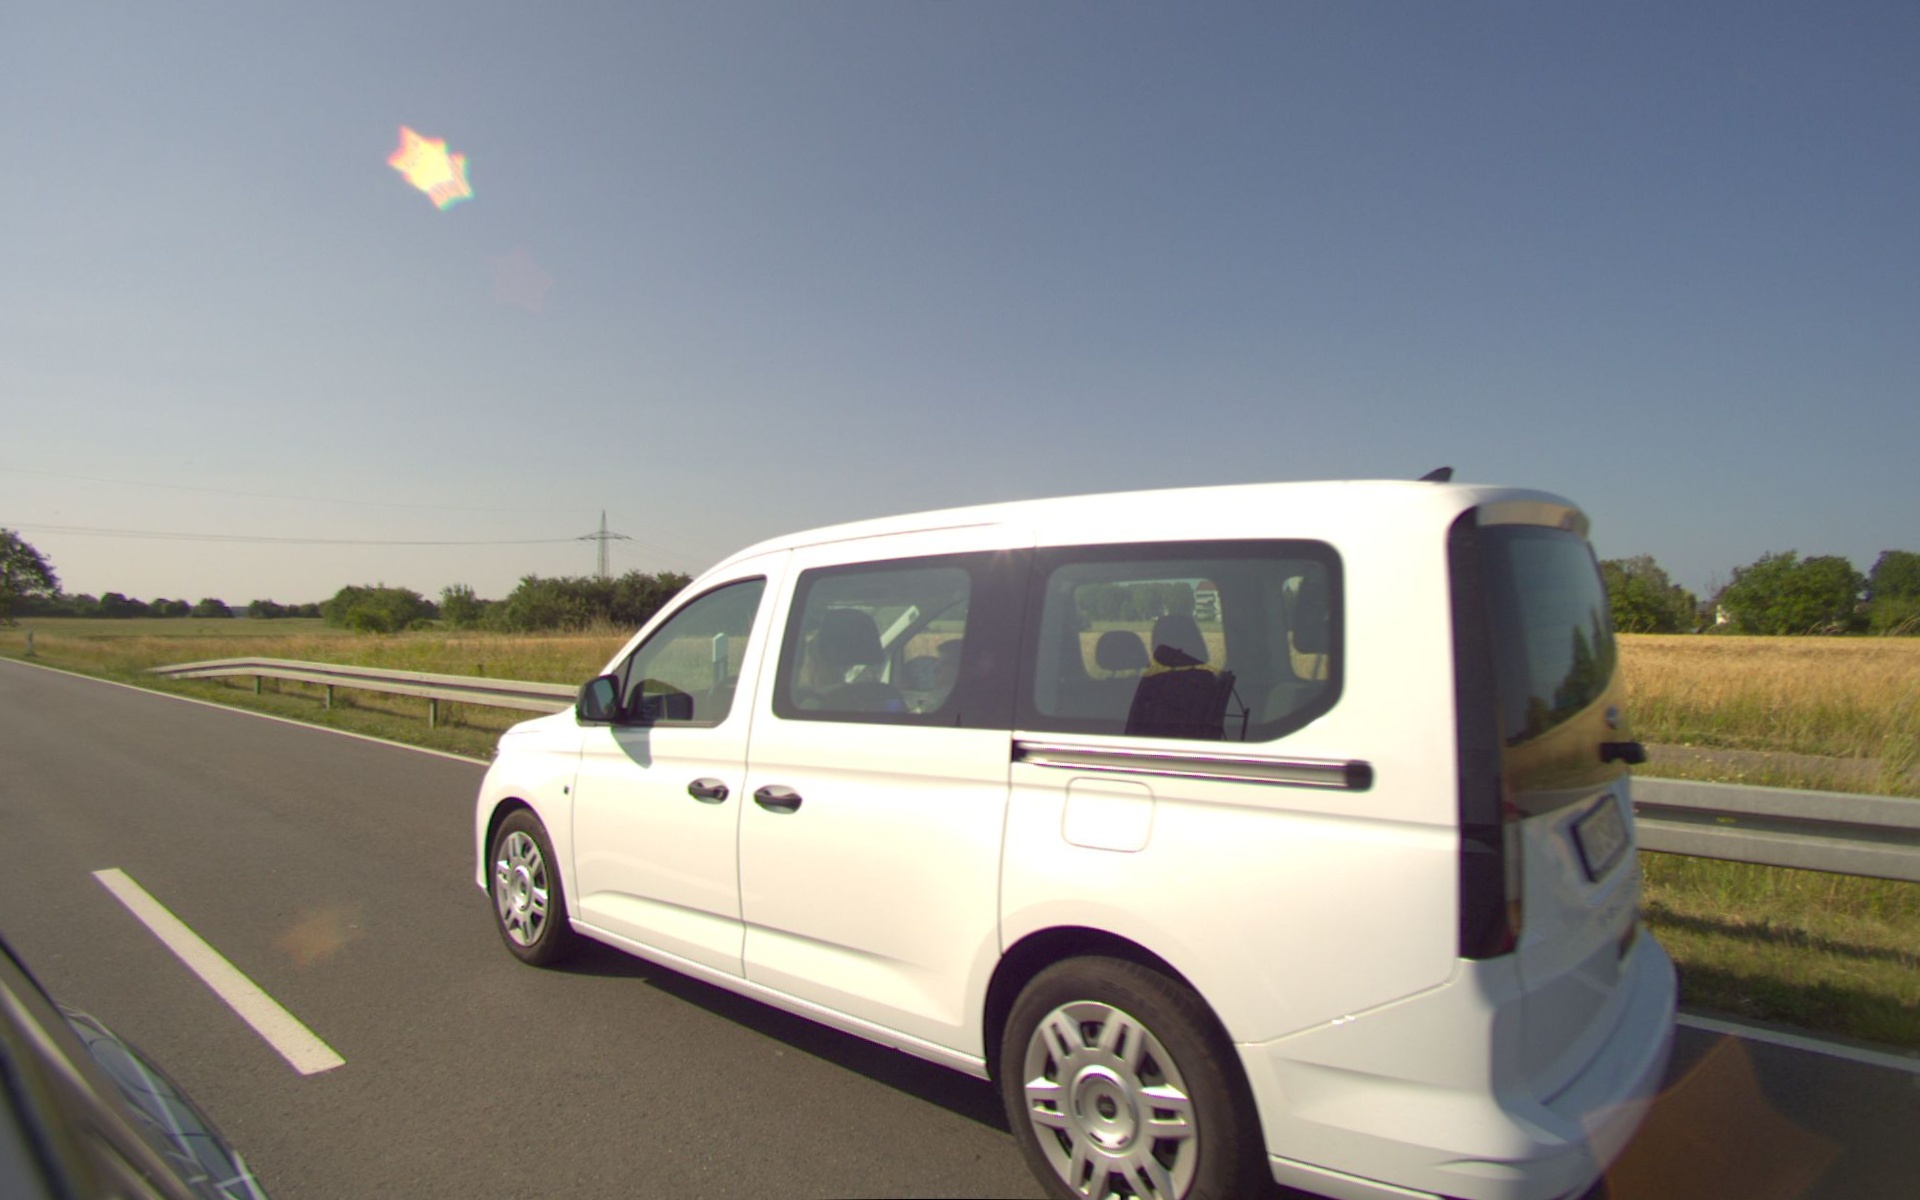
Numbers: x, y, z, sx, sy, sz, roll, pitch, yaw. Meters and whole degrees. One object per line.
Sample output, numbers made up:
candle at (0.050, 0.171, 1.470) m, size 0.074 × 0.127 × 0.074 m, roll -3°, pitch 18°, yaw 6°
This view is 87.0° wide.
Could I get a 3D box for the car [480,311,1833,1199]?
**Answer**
car at (0.149, 0.537, 3.609) m, size 4.433 × 1.800 × 1.817 m, roll -2°, pitch -2°, yaw 42°
